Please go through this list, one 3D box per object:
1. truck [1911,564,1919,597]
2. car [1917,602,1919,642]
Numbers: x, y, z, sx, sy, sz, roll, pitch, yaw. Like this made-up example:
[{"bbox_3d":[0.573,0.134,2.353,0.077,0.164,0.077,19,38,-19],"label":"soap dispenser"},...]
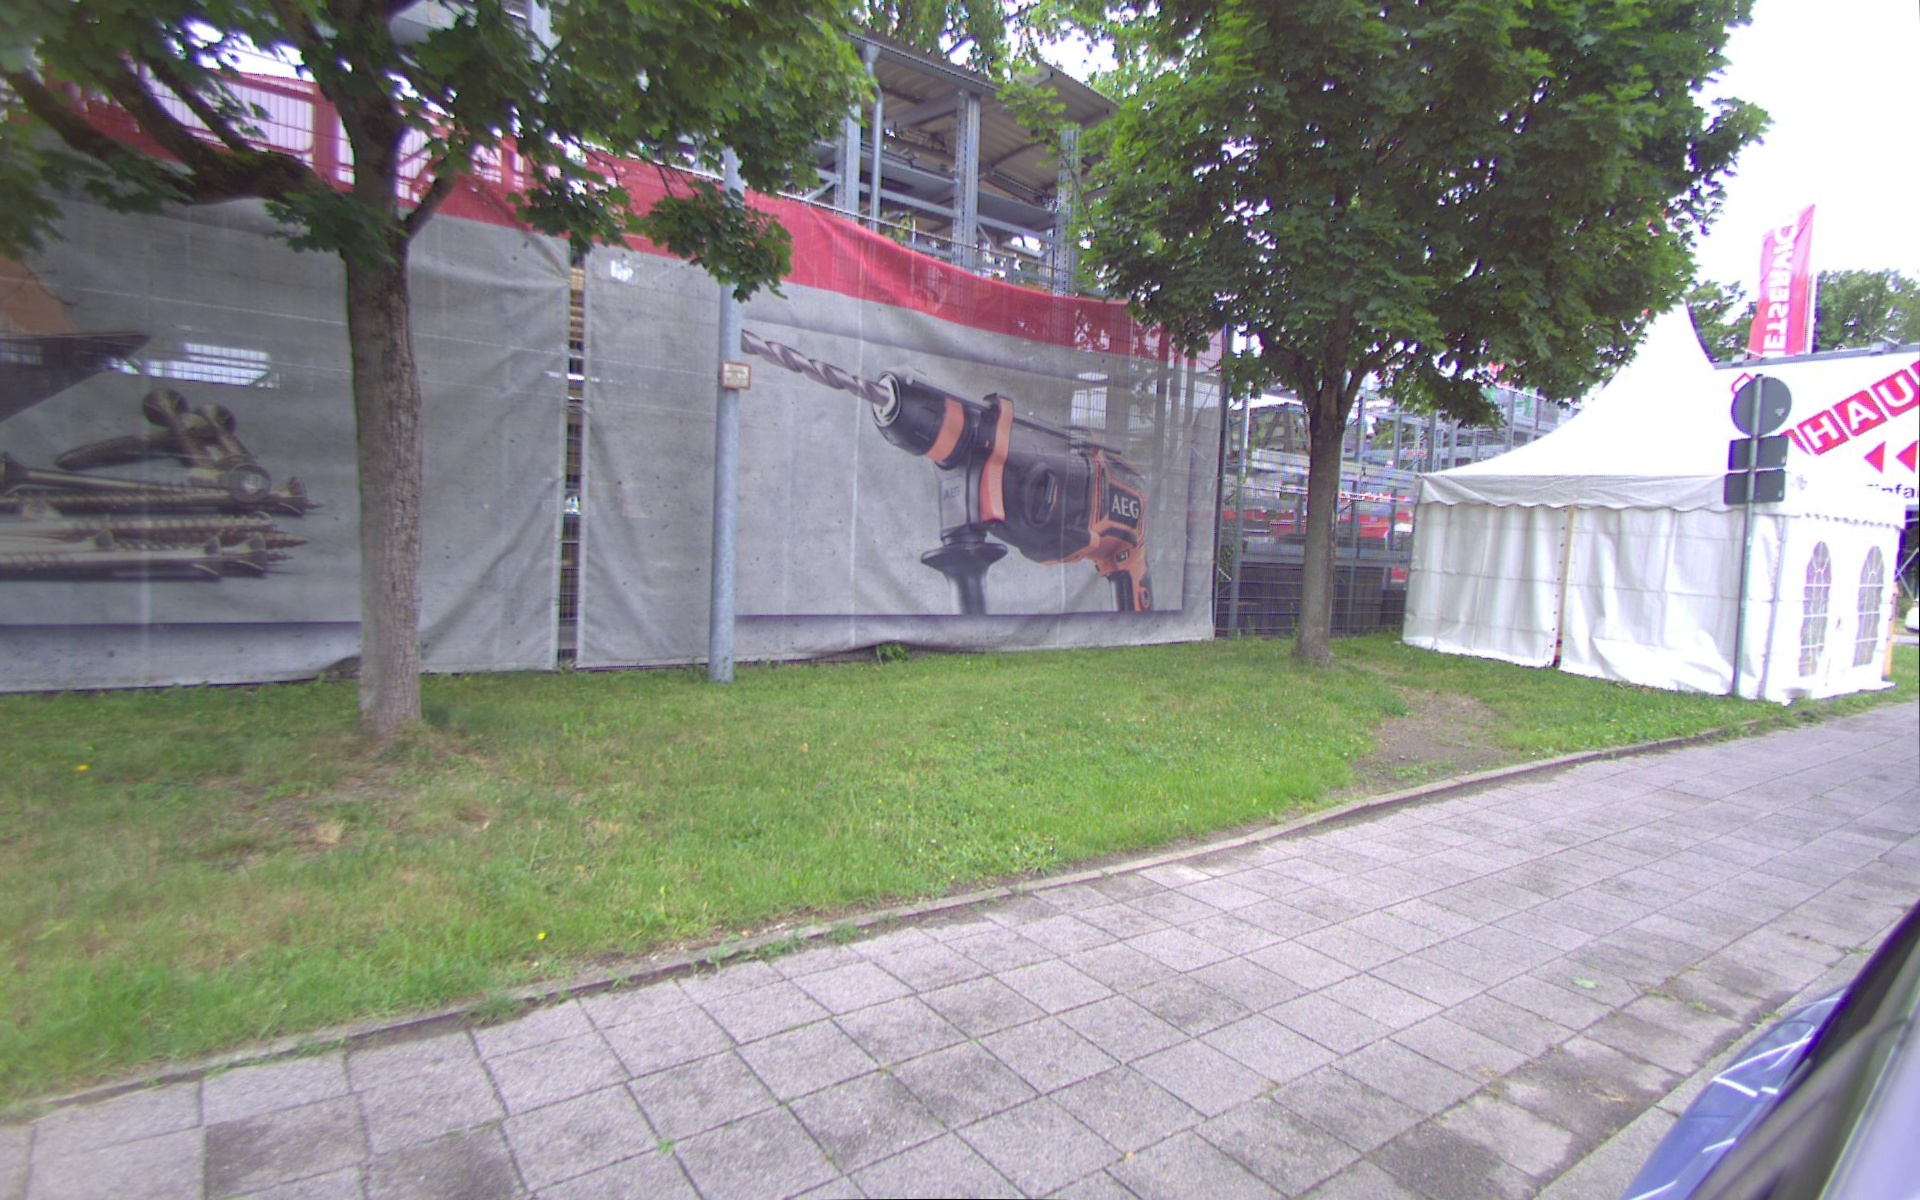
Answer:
[{"bbox_3d":[73.388,-1.346,74.789,3.928,2.425,1.999,3,3,4],"label":"truck"},{"bbox_3d":[22.943,0.301,20.795,1.905,1.445,4.493,-2,5,-38],"label":"car"}]
